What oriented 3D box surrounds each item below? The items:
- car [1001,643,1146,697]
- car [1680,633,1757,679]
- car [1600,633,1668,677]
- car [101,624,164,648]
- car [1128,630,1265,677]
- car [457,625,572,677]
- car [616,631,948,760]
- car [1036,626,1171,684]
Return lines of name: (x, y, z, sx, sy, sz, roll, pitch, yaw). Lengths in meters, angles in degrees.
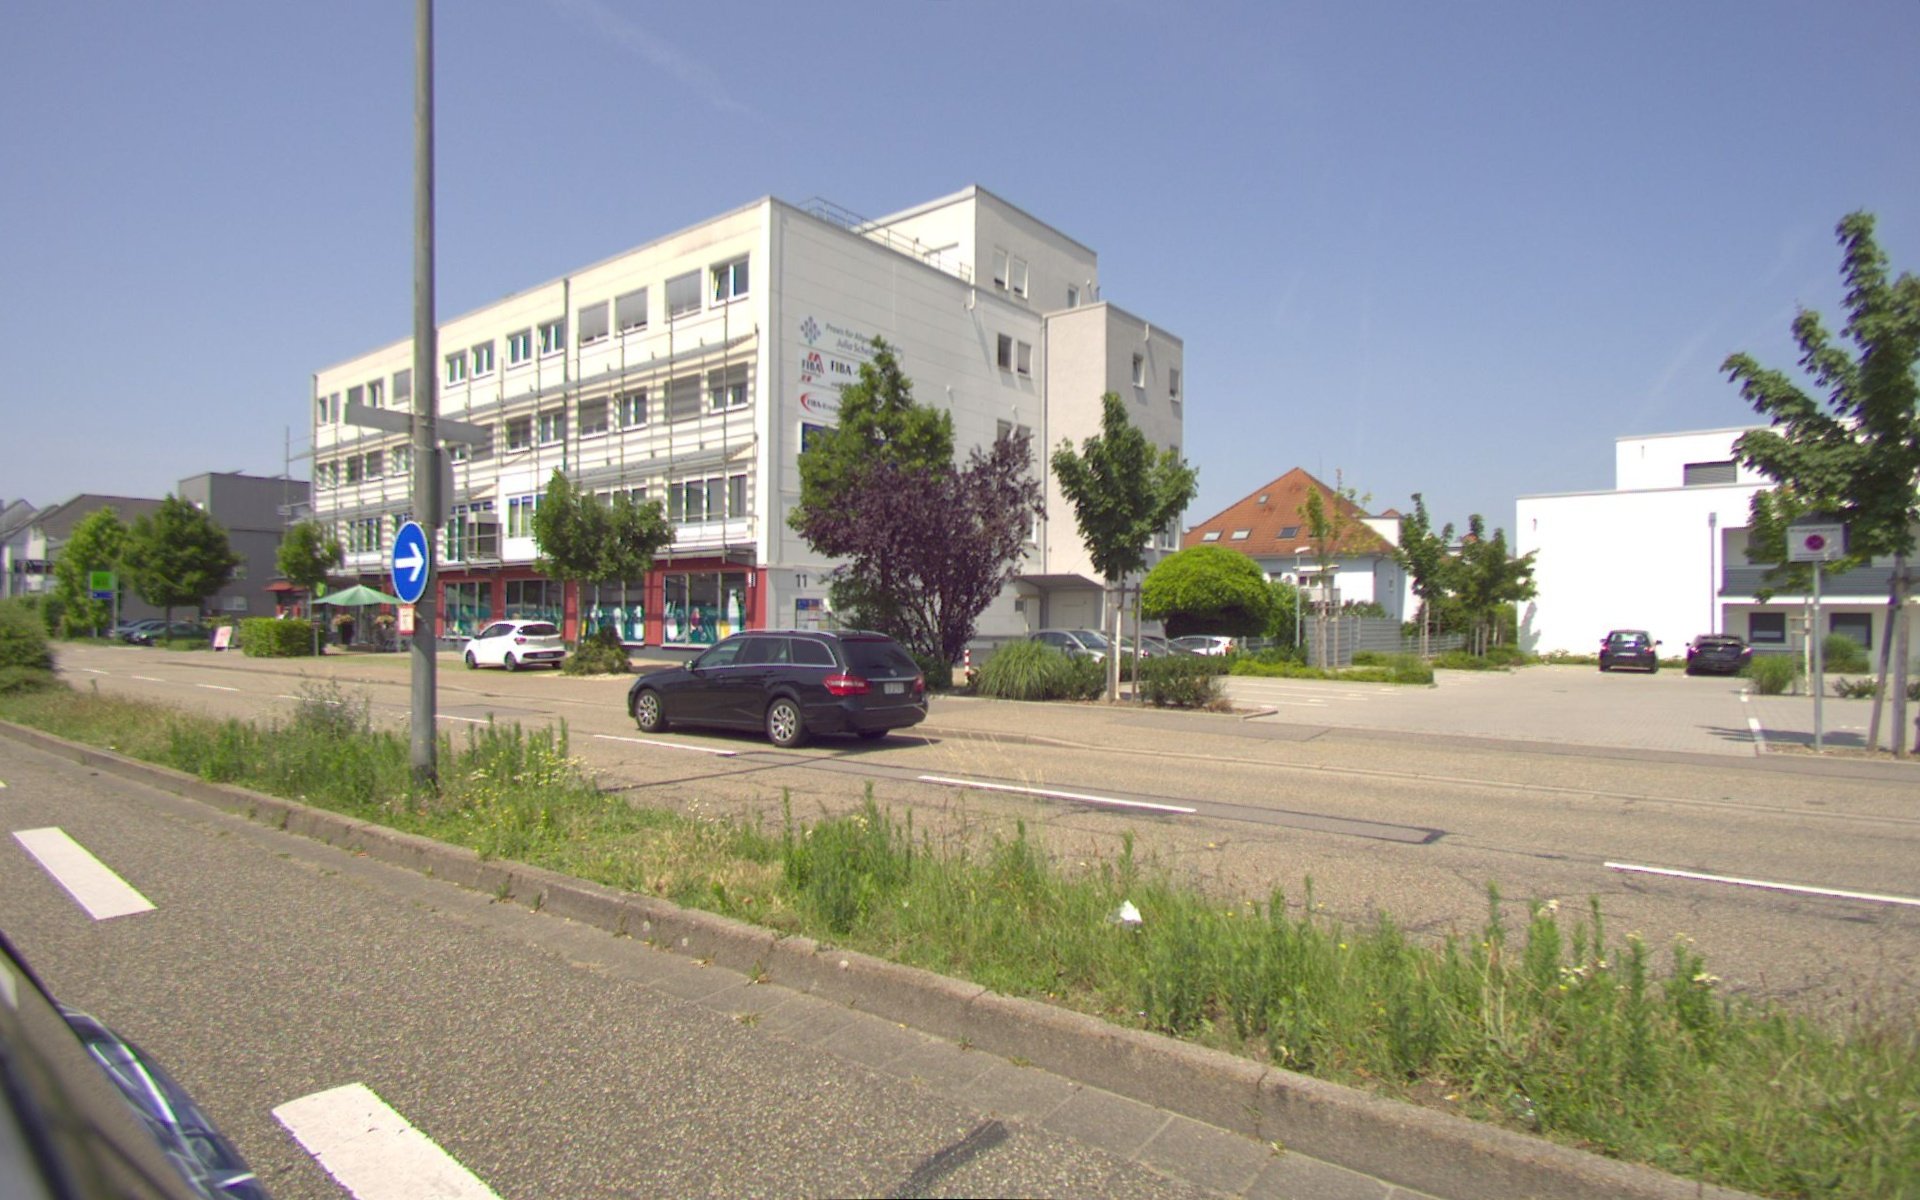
car: (2.926, 1.786, 26.498, 3.554, 1.241, 1.537, -1, -2, 41)
car: (25.985, 1.874, 34.774, 1.874, 1.464, 3.954, -1, -2, 34)
car: (24.196, 1.936, 36.427, 1.873, 1.464, 3.956, -1, -2, 32)
car: (-50.377, 2.193, 61.605, 1.444, 1.423, 2.703, -1, -2, 39)
car: (7.475, 1.647, 32.193, 3.831, 1.394, 1.900, -1, -2, 41)
car: (-13.622, 1.508, 30.880, 3.659, 1.460, 1.675, -1, -1, 37)
car: (-2.571, 1.183, 13.960, 4.705, 1.472, 1.811, -1, -2, 37)
car: (4.023, 1.510, 28.696, 3.554, 1.530, 1.537, -1, -2, 41)
